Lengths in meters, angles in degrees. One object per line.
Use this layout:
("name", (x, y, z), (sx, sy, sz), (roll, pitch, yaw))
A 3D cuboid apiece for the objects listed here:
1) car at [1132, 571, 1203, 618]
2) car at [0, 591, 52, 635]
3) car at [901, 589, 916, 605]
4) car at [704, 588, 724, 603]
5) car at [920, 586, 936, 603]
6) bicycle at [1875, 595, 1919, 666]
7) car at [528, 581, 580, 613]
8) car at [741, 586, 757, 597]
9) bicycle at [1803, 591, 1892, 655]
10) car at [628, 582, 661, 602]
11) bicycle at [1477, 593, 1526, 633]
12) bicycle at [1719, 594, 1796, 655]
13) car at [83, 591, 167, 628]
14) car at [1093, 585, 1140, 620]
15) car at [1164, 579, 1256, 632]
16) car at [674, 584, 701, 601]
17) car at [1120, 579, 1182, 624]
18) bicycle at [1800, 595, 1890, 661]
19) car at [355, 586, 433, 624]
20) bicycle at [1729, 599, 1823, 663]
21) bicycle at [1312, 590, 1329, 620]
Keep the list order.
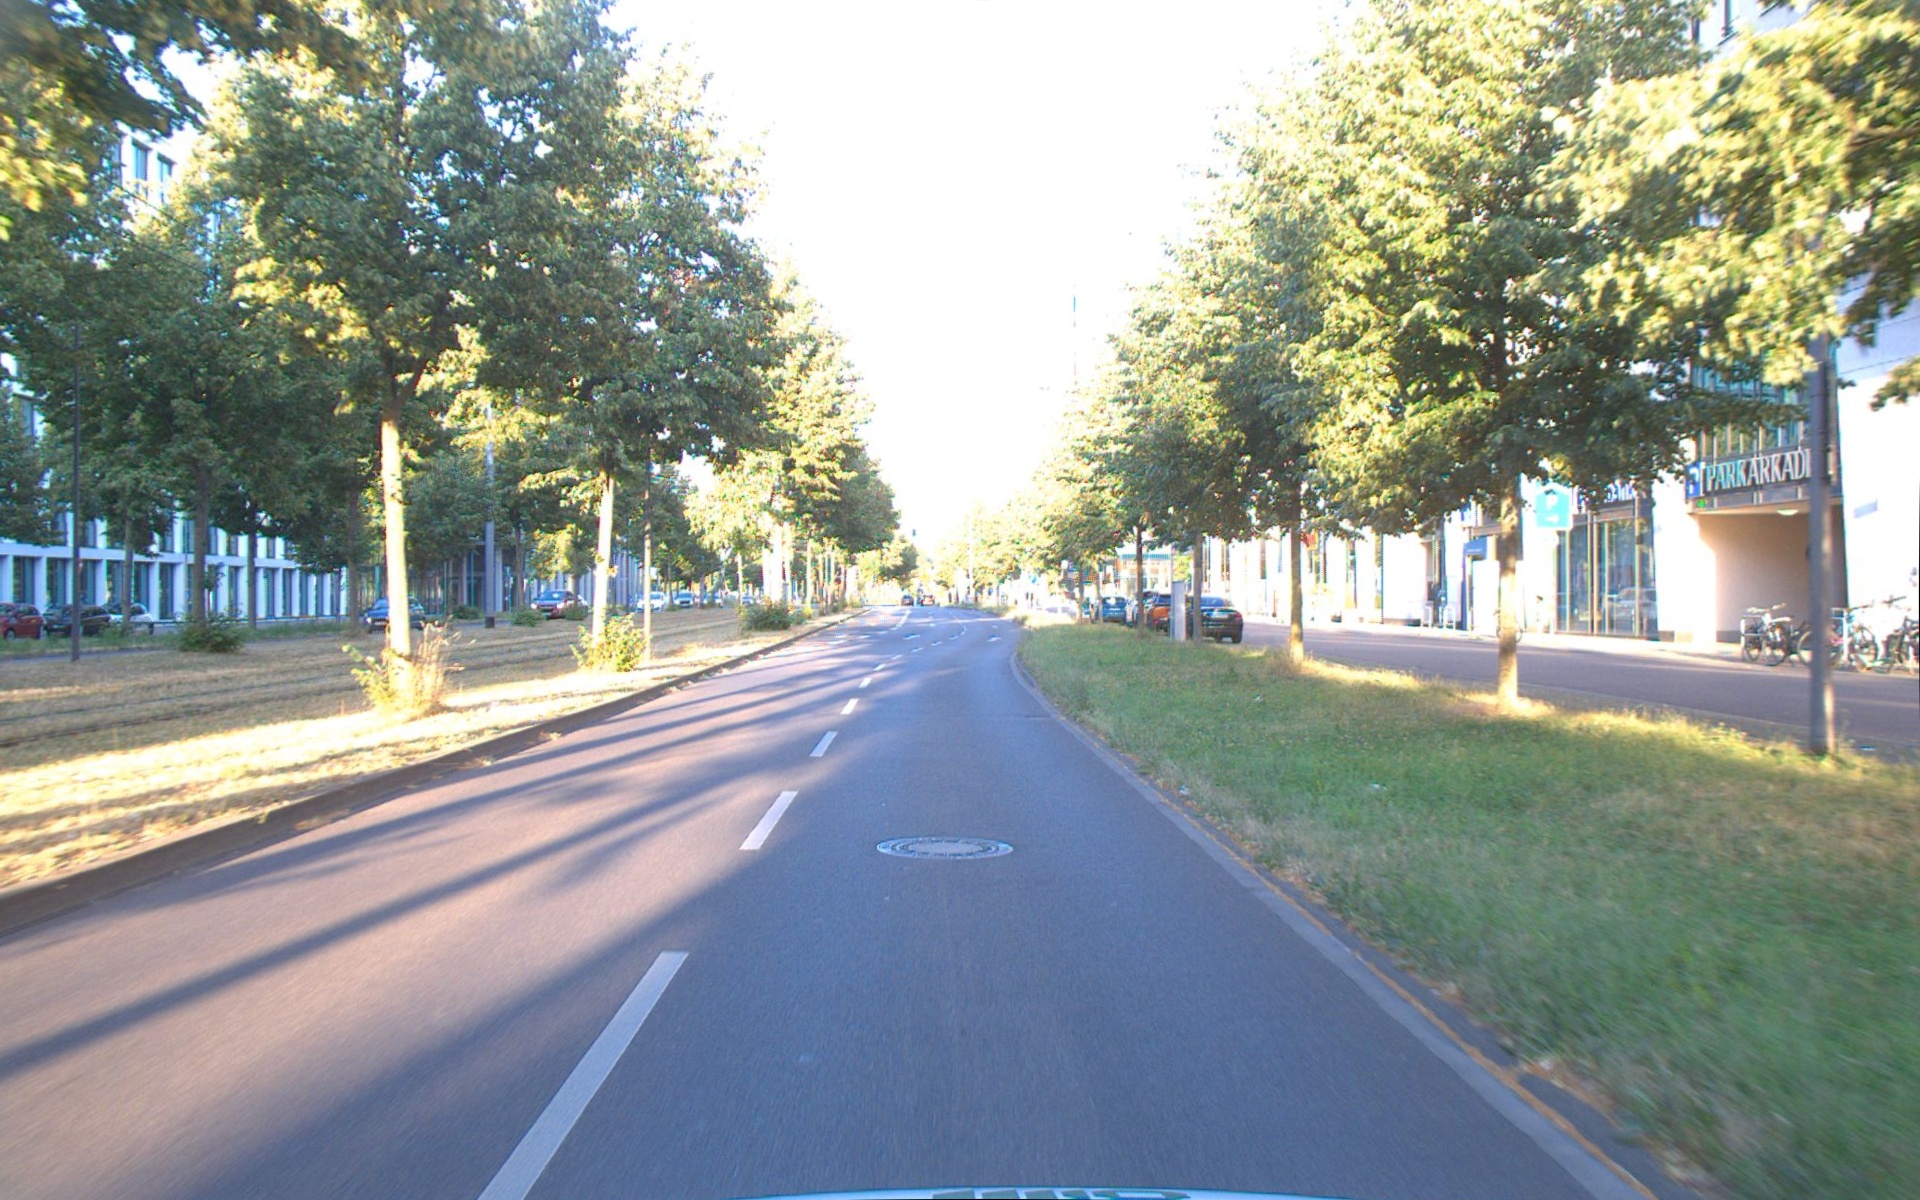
("car", (7.376, -0.202, 59.169), (1.817, 1.556, 4.481), (1, 0, -2))
("car", (-36.340, 0.470, 62.820), (1.822, 1.609, 3.492), (0, 0, 0))
("car", (-6.852, -0.406, 220.926), (2.045, 2.049, 3.999), (0, 1, -2))
("car", (-23.770, -0.440, 160.032), (1.727, 1.451, 3.543), (0, 0, -6))
("car", (-4.005, -0.721, 205.863), (1.953, 2.049, 3.999), (0, 1, -2))
("bicycle", (15.161, 0.475, 25.964), (0.522, 1.079, 1.857), (-2, 1, -1))
("car", (-21.137, -0.149, 86.315), (1.847, 1.605, 4.180), (0, 0, -3))
("car", (-26.574, -1.042, 208.204), (1.624, 1.355, 4.582), (0, 1, -3))
("bicycle", (15.761, 0.392, 29.423), (0.522, 1.079, 1.856), (-2, 1, -1))
("car", (-22.160, -0.585, 116.309), (1.624, 1.355, 4.528), (0, 0, -3))
("bicycle", (14.800, 0.356, 45.278), (0.639, 1.057, 2.055), (0, 0, -1))
("bicycle", (15.154, 0.452, 31.478), (0.522, 1.079, 1.857), (-2, 1, -1))
("car", (-36.763, 0.401, 72.912), (1.822, 1.609, 3.784), (0, 0, 0))
("car", (7.318, 0.083, 77.699), (1.689, 1.556, 4.267), (1, 0, -2))
("car", (7.748, 0.147, 51.769), (1.905, 1.576, 4.809), (0, 0, -3))
("car", (-22.501, -0.614, 136.748), (1.624, 1.355, 4.739), (0, 0, -3))
("car", (7.739, 0.043, 67.401), (1.911, 1.744, 5.158), (1, 0, 0))
("bicycle", (15.203, 0.461, 28.461), (0.522, 1.079, 1.856), (0, 1, -1))
("car", (-23.555, 0.180, 69.002), (1.879, 1.534, 4.286), (0, 0, -2))
("bicycle", (14.515, 0.533, 29.468), (0.523, 1.079, 1.776), (-2, 1, -10))
("bicycle", (14.289, 0.187, 65.536), (0.558, 1.144, 1.835), (-2, 1, 10))
